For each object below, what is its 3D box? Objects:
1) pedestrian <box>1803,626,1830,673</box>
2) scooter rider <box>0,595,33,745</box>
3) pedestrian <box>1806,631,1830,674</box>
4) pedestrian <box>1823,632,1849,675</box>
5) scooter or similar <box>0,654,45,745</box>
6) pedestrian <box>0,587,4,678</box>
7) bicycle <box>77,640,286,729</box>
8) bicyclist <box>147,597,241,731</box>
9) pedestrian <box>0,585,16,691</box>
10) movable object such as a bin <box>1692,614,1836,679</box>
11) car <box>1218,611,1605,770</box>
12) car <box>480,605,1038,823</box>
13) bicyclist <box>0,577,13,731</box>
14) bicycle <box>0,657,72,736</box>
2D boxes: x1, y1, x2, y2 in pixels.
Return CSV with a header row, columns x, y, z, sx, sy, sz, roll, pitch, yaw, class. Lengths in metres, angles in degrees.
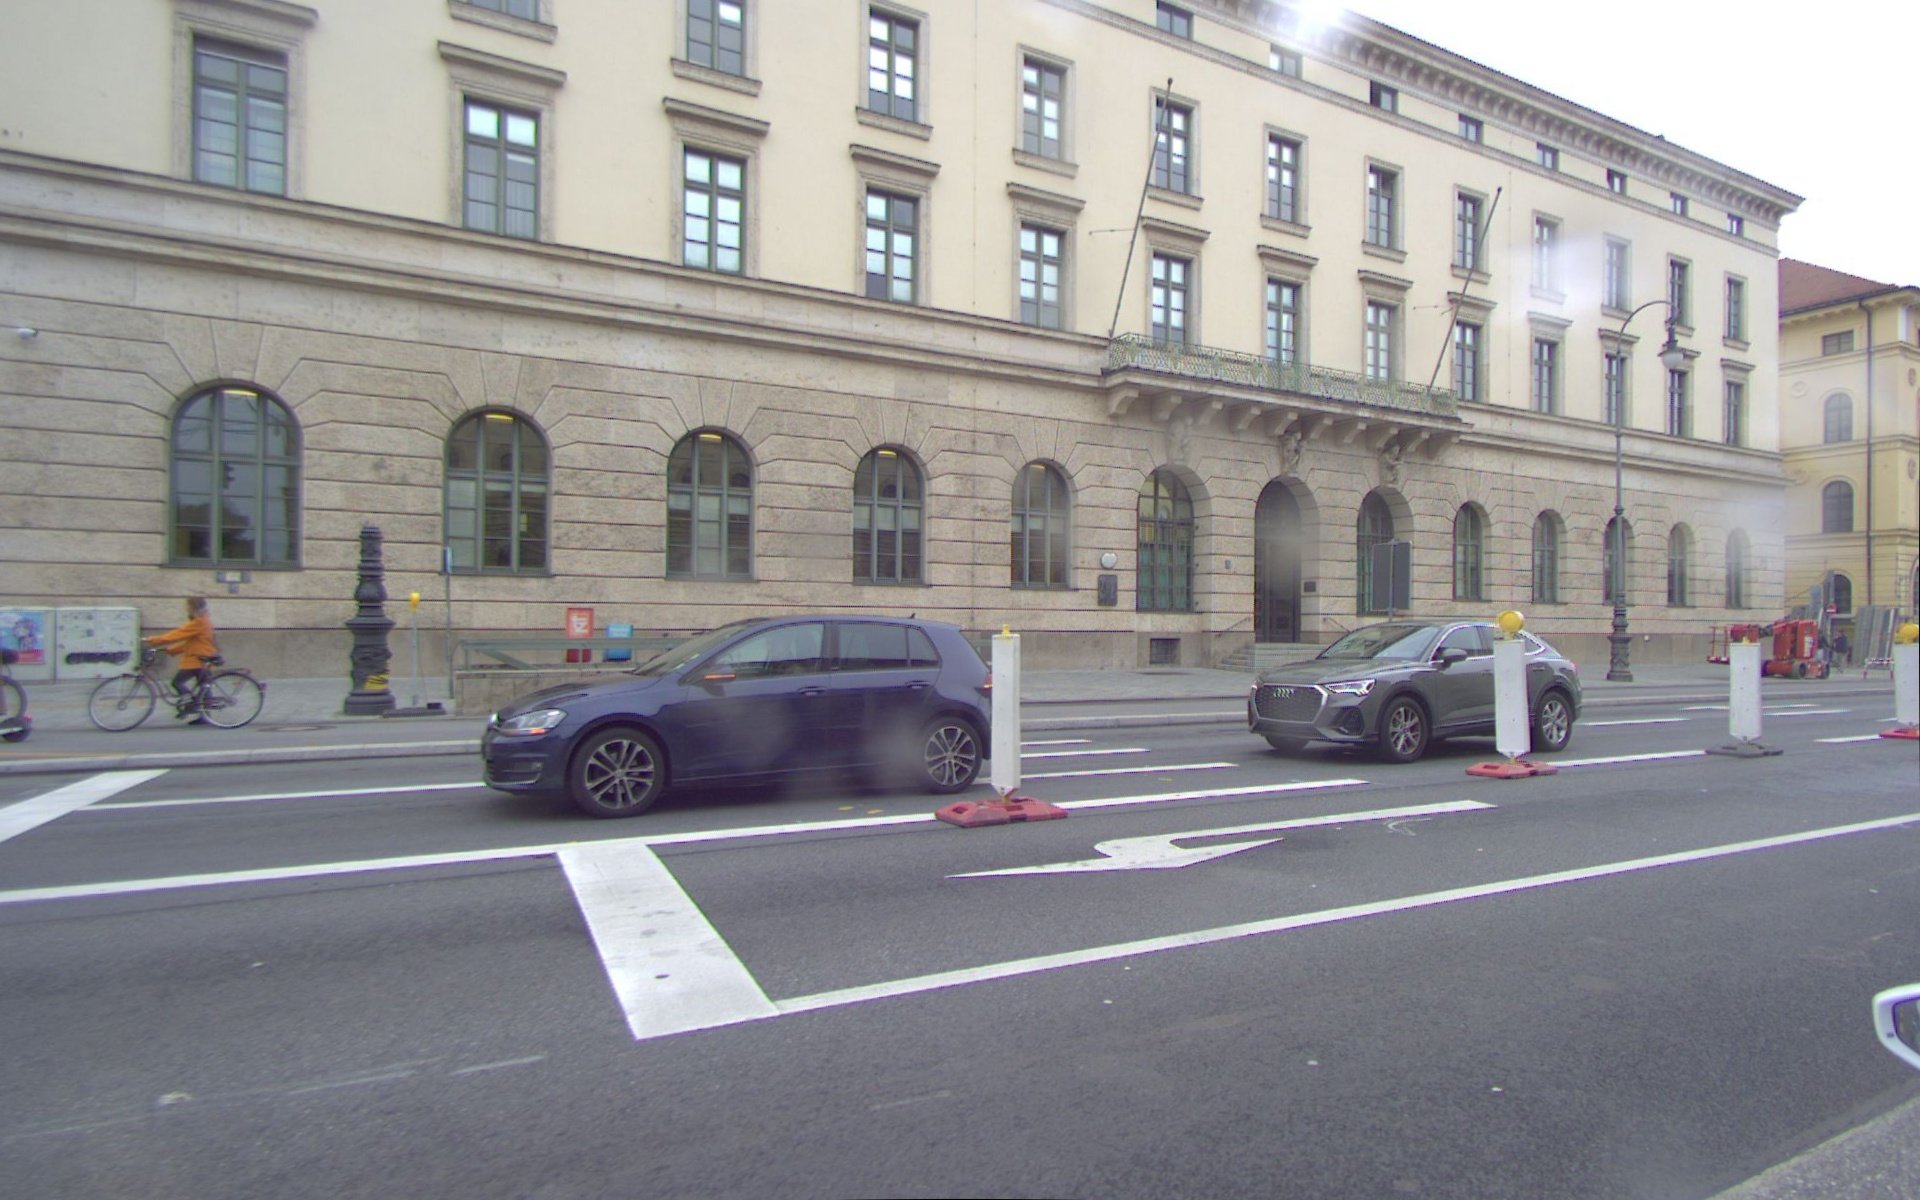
x,y,z,sx,sy,sz,roll,pitch,yaw,class
35.767,2.070,41.964,0.645,1.956,0.676,2,-2,-30,pedestrian
-11.026,0.759,11.116,0.923,1.644,0.588,2,-1,-26,scooter rider
33.932,2.078,39.741,0.610,1.698,0.550,2,-2,-30,pedestrian
34.220,2.092,39.235,0.610,1.674,0.609,2,-2,-30,pedestrian
-11.042,1.088,11.110,1.199,0.977,0.584,2,-2,-26,scooter or similar
-15.104,0.624,15.268,0.608,1.693,0.539,2,-1,-20,pedestrian
-9.860,1.064,12.828,1.938,1.054,0.790,2,-2,-25,bicycle
-9.781,0.806,12.862,0.736,1.636,0.790,2,-1,-25,bicyclist
-15.795,0.601,16.076,0.708,1.716,0.814,2,-1,-26,pedestrian
27.122,1.592,33.807,5.899,2.040,1.506,3,-2,-27,movable object such as a bin
5.394,0.994,11.890,4.519,1.587,1.779,1,-3,-28,car
-1.588,0.843,8.271,4.187,1.406,1.737,2,-3,-28,car
-11.911,0.644,11.916,0.736,1.866,0.656,2,-1,-25,bicyclist
-11.932,1.134,11.906,1.952,0.891,0.657,2,-2,-25,bicycle
